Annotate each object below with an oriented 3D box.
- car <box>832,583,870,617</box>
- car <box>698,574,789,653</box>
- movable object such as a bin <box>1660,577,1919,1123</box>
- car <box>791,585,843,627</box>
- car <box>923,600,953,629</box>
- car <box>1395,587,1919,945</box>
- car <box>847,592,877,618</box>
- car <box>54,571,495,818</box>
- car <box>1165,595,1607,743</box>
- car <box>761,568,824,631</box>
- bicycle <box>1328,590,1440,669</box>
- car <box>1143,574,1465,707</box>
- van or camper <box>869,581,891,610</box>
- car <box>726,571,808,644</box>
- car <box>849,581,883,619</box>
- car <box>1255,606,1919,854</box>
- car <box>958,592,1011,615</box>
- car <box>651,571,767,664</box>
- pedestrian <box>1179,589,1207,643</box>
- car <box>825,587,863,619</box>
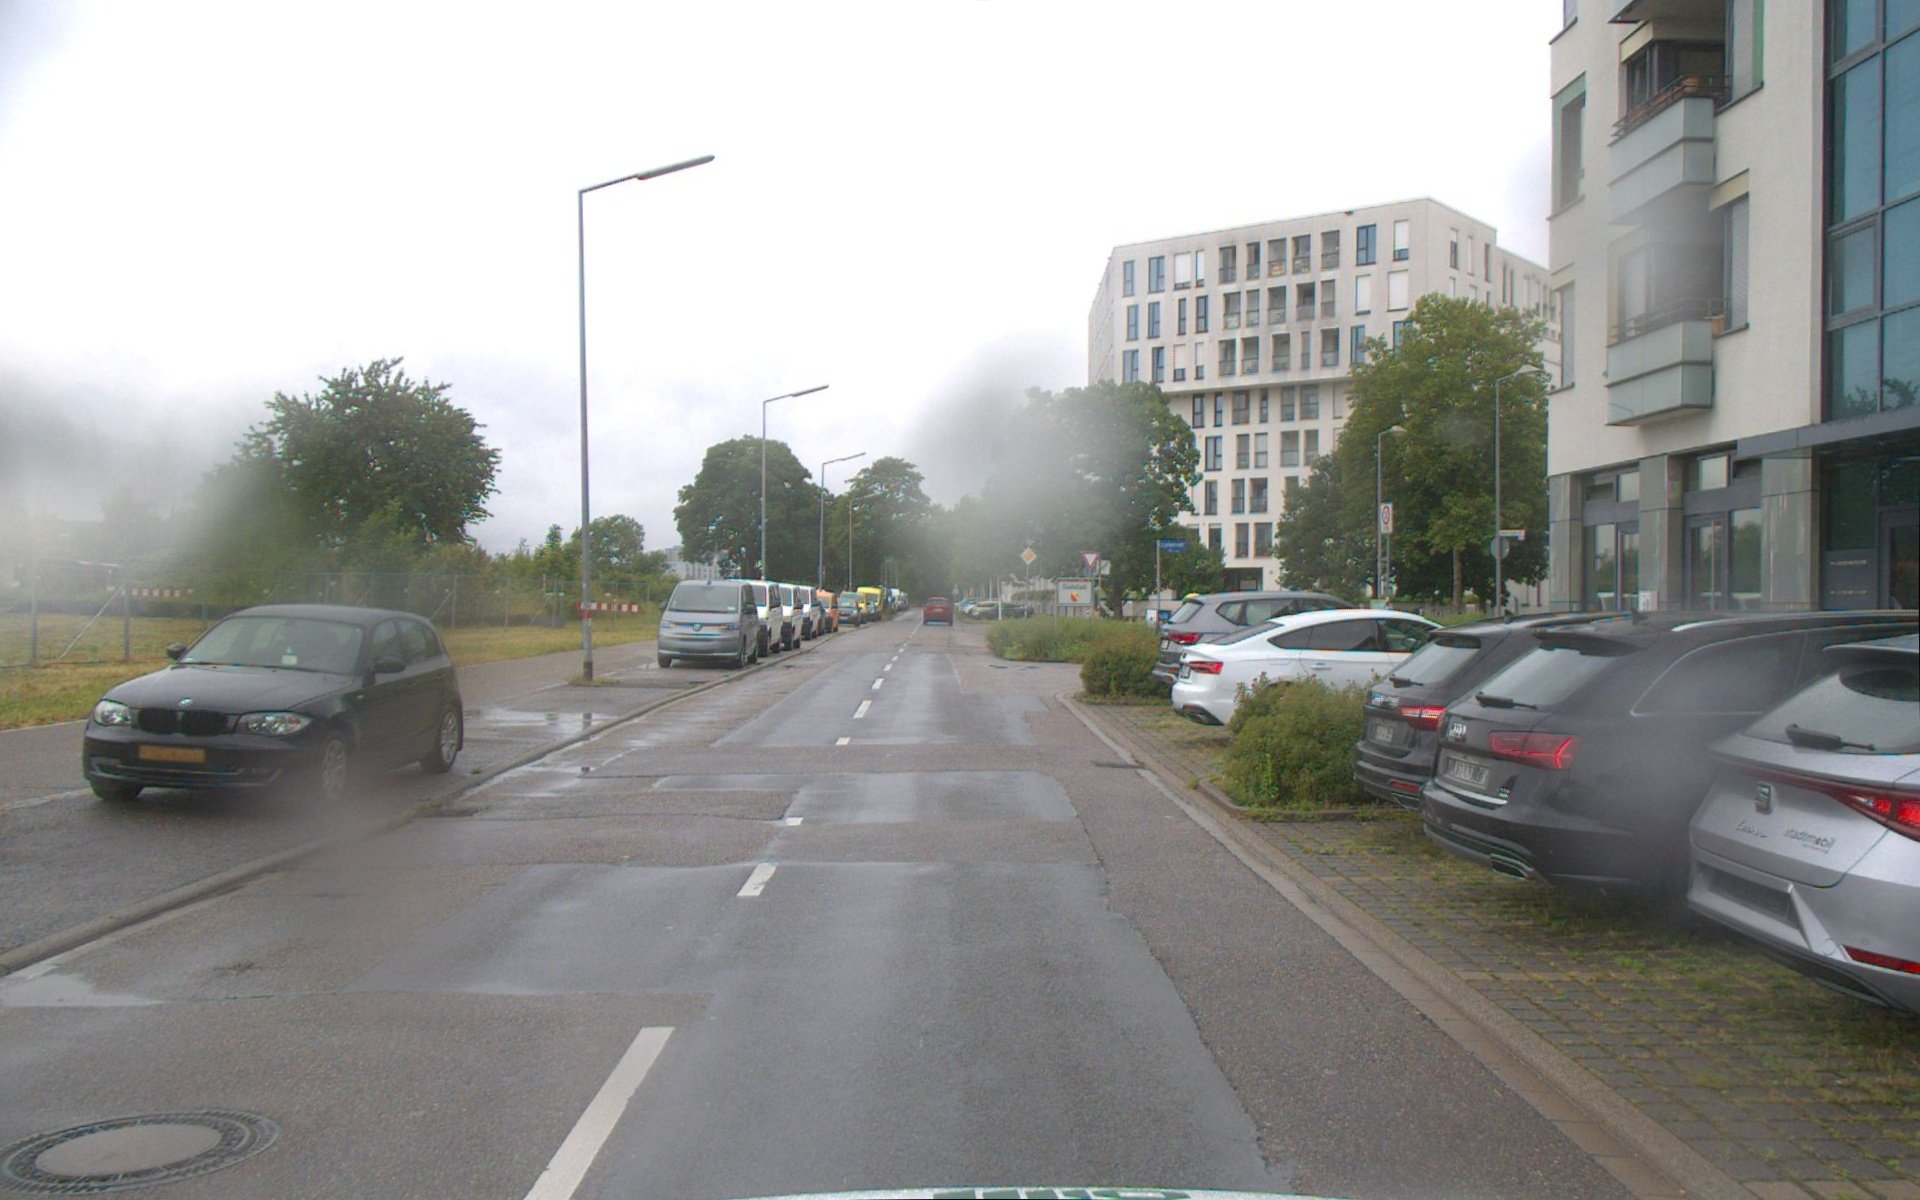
[{"bbox_3d":[-6.820,0.030,104.092,1.976,1.990,6.063,3,0,-1],"label":"car"},{"bbox_3d":[-5.934,0.350,45.972,1.856,2.049,5.257,1,0,-1],"label":"car"},{"bbox_3d":[3.321,0.699,5.513,1.274,1.553,1.581,-1,0,-1],"label":"movable object such as a bin"},{"bbox_3d":[-6.428,0.263,74.703,1.900,1.798,4.331,1,0,1],"label":"car"},{"bbox_3d":[-1.367,0.892,102.038,1.721,1.735,3.998,1,0,-3],"label":"car"},{"bbox_3d":[4.440,0.708,8.270,3.978,1.523,2.058,-1,0,-1],"label":"car"},{"bbox_3d":[-6.867,0.358,116.388,1.954,1.622,5.015,3,0,-2],"label":"car"},{"bbox_3d":[-5.277,0.643,13.400,1.810,1.588,4.151,3,0,-1],"label":"car"},{"bbox_3d":[4.559,0.713,18.159,4.320,1.429,1.910,-1,0,-2],"label":"car"},{"bbox_3d":[-6.343,-0.017,63.233,1.903,2.275,5.556,1,0,-1],"label":"car"},{"bbox_3d":[8.552,0.585,33.394,2.142,1.549,0.631,0,0,20],"label":"bicycle"},{"bbox_3d":[4.706,0.541,23.060,4.007,1.652,1.965,-2,0,-2],"label":"car"},{"bbox_3d":[-8.078,-0.445,167.874,2.053,2.763,7.570,3,-1,-3],"label":"van or camper"},{"bbox_3d":[-5.960,0.211,51.590,1.920,2.094,5.273,2,0,-1],"label":"car"},{"bbox_3d":[-7.245,0.014,128.039,2.147,2.741,6.081,3,0,1],"label":"car"},{"bbox_3d":[4.196,0.829,11.528,3.907,1.505,1.878,-1,0,-2],"label":"car"},{"bbox_3d":[2.154,0.290,146.599,4.450,1.714,1.884,-4,0,-4],"label":"car"},{"bbox_3d":[-5.679,0.371,37.966,1.916,1.935,4.994,1,0,-1],"label":"car"},{"bbox_3d":[8.970,0.600,63.721,0.945,2.049,0.622,0,0,-1],"label":"pedestrian"},{"bbox_3d":[-6.398,0.140,91.308,1.767,1.588,4.032,4,0,-1],"label":"car"}]
